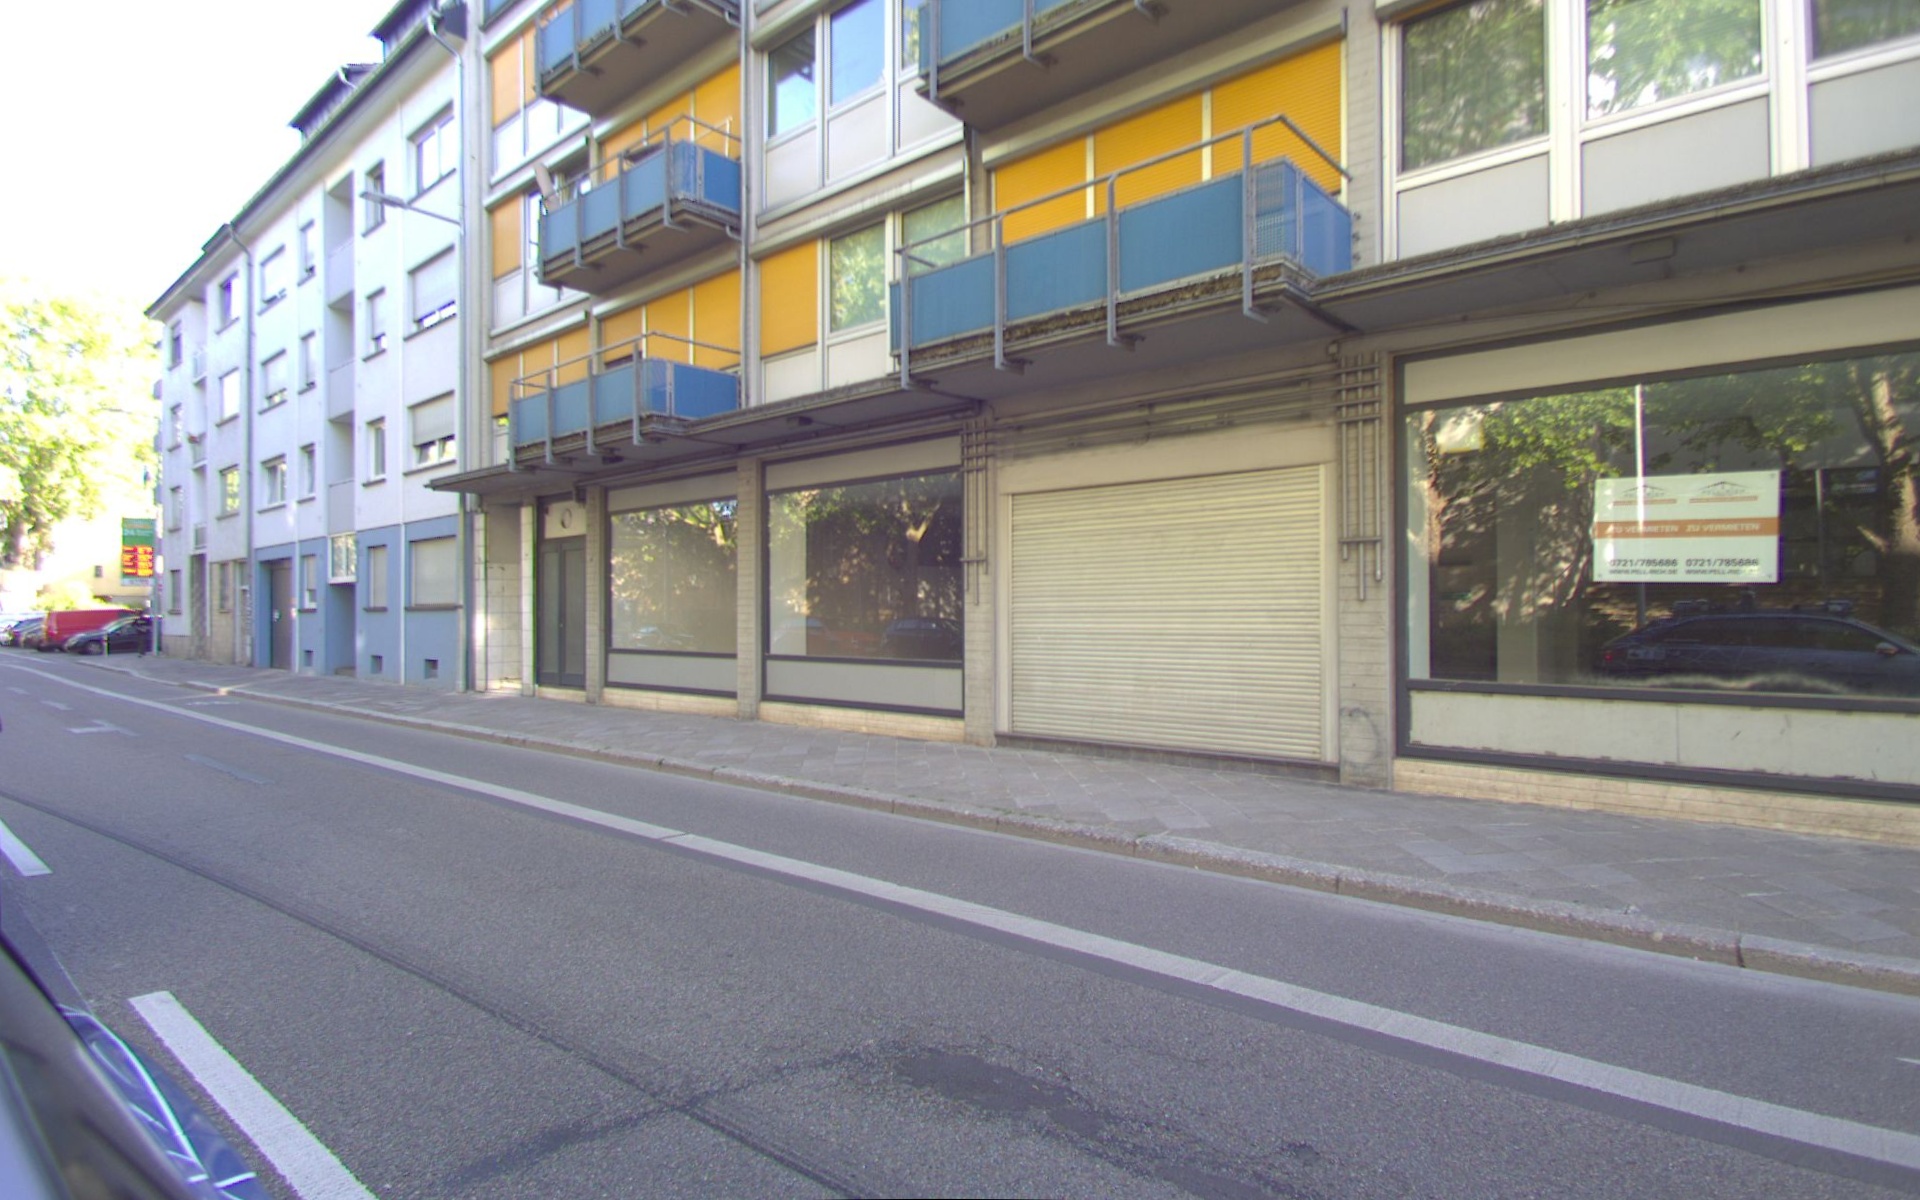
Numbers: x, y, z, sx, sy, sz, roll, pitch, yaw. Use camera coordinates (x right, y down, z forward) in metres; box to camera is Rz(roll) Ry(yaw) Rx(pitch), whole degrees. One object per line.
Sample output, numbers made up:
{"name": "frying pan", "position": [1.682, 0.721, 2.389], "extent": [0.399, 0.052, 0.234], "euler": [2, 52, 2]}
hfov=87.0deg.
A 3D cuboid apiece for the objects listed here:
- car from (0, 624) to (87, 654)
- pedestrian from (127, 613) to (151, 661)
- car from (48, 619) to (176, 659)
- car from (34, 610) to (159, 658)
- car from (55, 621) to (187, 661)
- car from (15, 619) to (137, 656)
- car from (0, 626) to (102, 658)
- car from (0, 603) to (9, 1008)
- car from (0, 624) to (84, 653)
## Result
{"name": "car", "position": [-54.495, 2.274, 59.793], "extent": [1.652, 1.480, 4.201], "euler": [-1, 1, 41]}
{"name": "pedestrian", "position": [-29.796, 1.341, 36.749], "extent": [0.602, 1.708, 0.657], "euler": [0, -1, -33]}
{"name": "car", "position": [-38.187, 1.727, 45.659], "extent": [1.652, 1.480, 4.201], "euler": [-1, 1, 41]}
{"name": "car", "position": [-40.568, 1.554, 47.621], "extent": [1.817, 1.933, 4.202], "euler": [-1, 1, 40]}
{"name": "car", "position": [-36.494, 1.740, 44.096], "extent": [1.652, 1.411, 4.201], "euler": [-1, 1, 41]}
{"name": "car", "position": [-42.756, 1.786, 49.017], "extent": [1.652, 1.480, 4.201], "euler": [-1, 1, 41]}
{"name": "car", "position": [-50.463, 2.288, 56.108], "extent": [1.652, 1.480, 4.201], "euler": [-1, 1, 41]}
{"name": "car", "position": [-5.784, 0.800, 4.528], "extent": [4.300, 1.510, 1.826], "euler": [-1, -1, 41]}
{"name": "car", "position": [-55.877, 2.294, 61.201], "extent": [1.652, 1.480, 4.201], "euler": [-1, 1, 41]}
